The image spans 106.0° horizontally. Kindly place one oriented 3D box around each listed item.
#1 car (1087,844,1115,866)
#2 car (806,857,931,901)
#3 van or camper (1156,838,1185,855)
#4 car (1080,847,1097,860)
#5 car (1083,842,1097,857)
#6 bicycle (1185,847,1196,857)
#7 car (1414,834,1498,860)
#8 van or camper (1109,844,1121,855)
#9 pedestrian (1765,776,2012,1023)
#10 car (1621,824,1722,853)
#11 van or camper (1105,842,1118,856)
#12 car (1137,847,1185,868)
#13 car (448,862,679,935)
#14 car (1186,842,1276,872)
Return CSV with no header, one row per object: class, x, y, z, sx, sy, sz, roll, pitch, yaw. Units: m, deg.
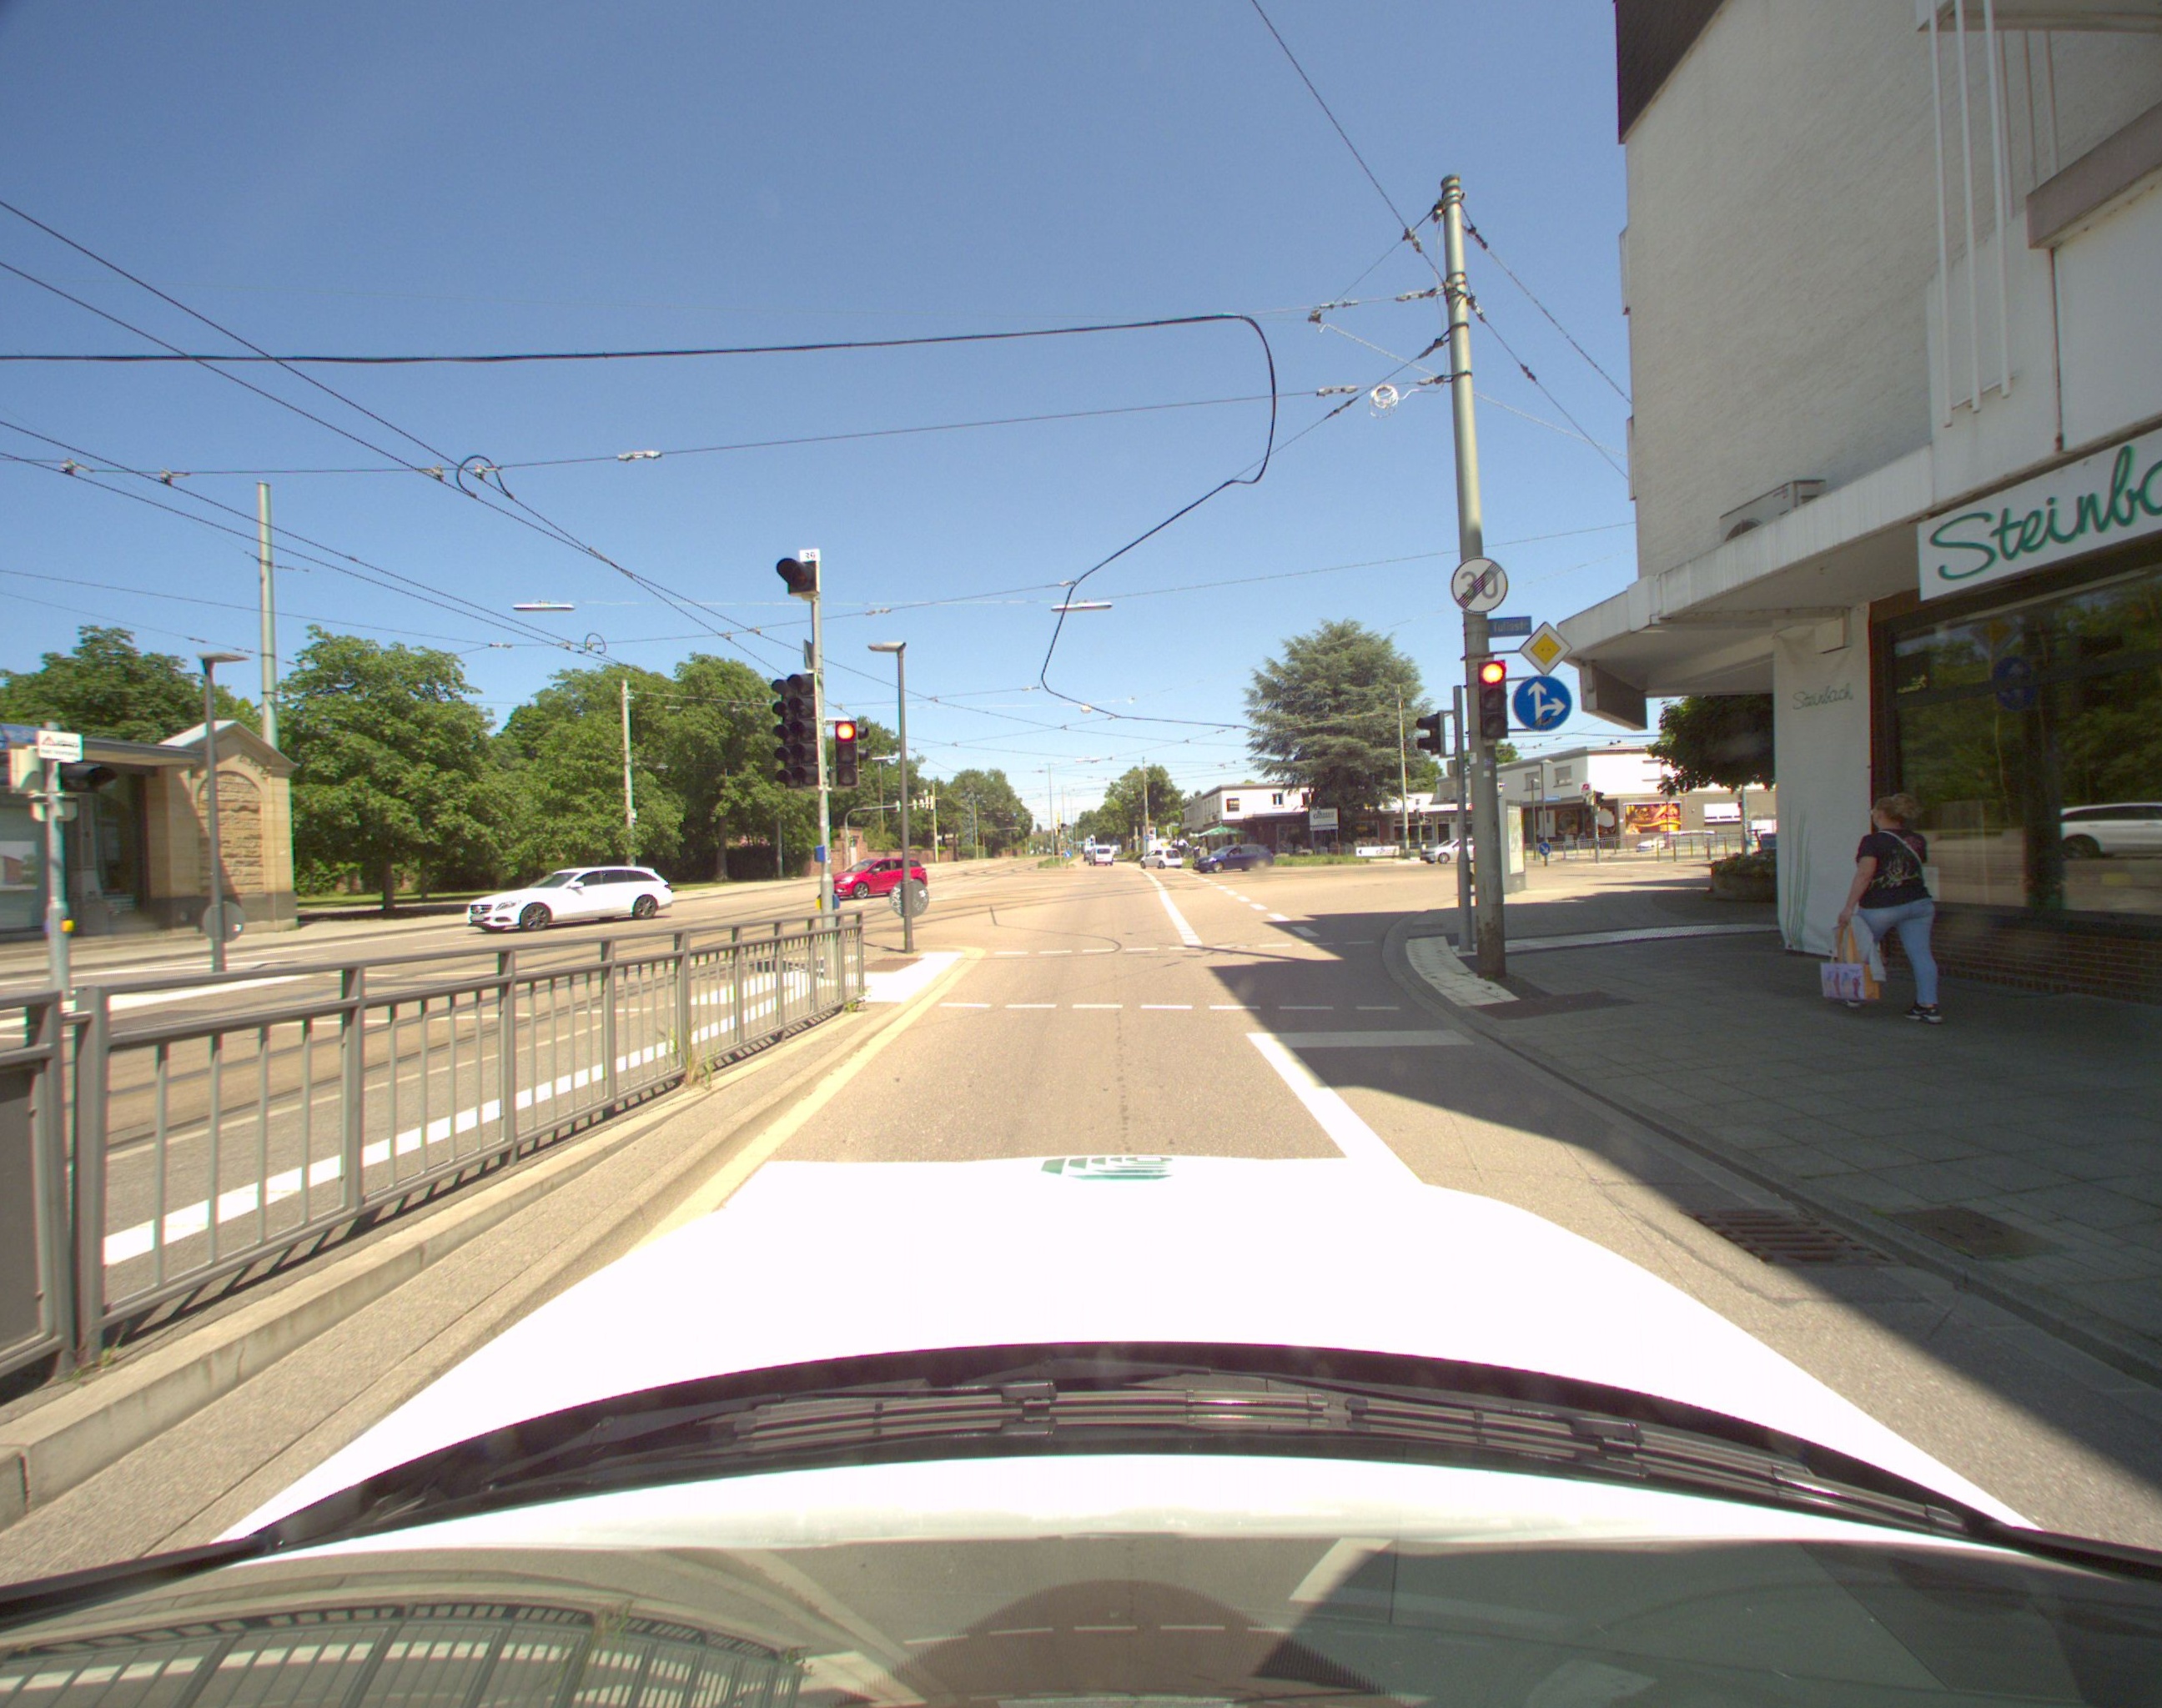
car,1.809,0.061,74.913,1.993,1.859,3.989,-2,1,-8
car,-7.793,0.870,30.163,1.800,1.395,4.202,-2,0,38
van or camper,15.752,-1.305,143.632,4.742,2.671,2.135,-2,0,-1
car,0.928,-0.047,100.680,1.987,1.453,3.999,0,-1,0
car,1.297,-0.644,119.554,1.986,2.014,4.001,0,-1,2
bicycle,11.386,-0.225,84.786,1.028,1.014,2.643,-2,0,8
car,21.671,-0.401,47.147,4.026,1.362,1.823,-2,0,-1
van or camper,5.475,-0.696,130.848,1.915,1.772,4.002,-2,0,2
pedestrian,5.729,0.306,5.848,0.822,1.583,0.828,-6,0,7
car,34.296,-0.896,47.362,4.465,1.489,1.825,-2,0,3
van or camper,5.714,-0.911,153.329,1.988,2.464,3.998,-2,0,-2
car,5.821,0.280,59.460,1.683,1.435,3.437,-2,0,-34
car,-12.879,1.042,20.666,1.801,1.468,4.651,-1,1,25
car,8.082,0.157,43.876,4.479,1.442,1.850,-2,0,-20
